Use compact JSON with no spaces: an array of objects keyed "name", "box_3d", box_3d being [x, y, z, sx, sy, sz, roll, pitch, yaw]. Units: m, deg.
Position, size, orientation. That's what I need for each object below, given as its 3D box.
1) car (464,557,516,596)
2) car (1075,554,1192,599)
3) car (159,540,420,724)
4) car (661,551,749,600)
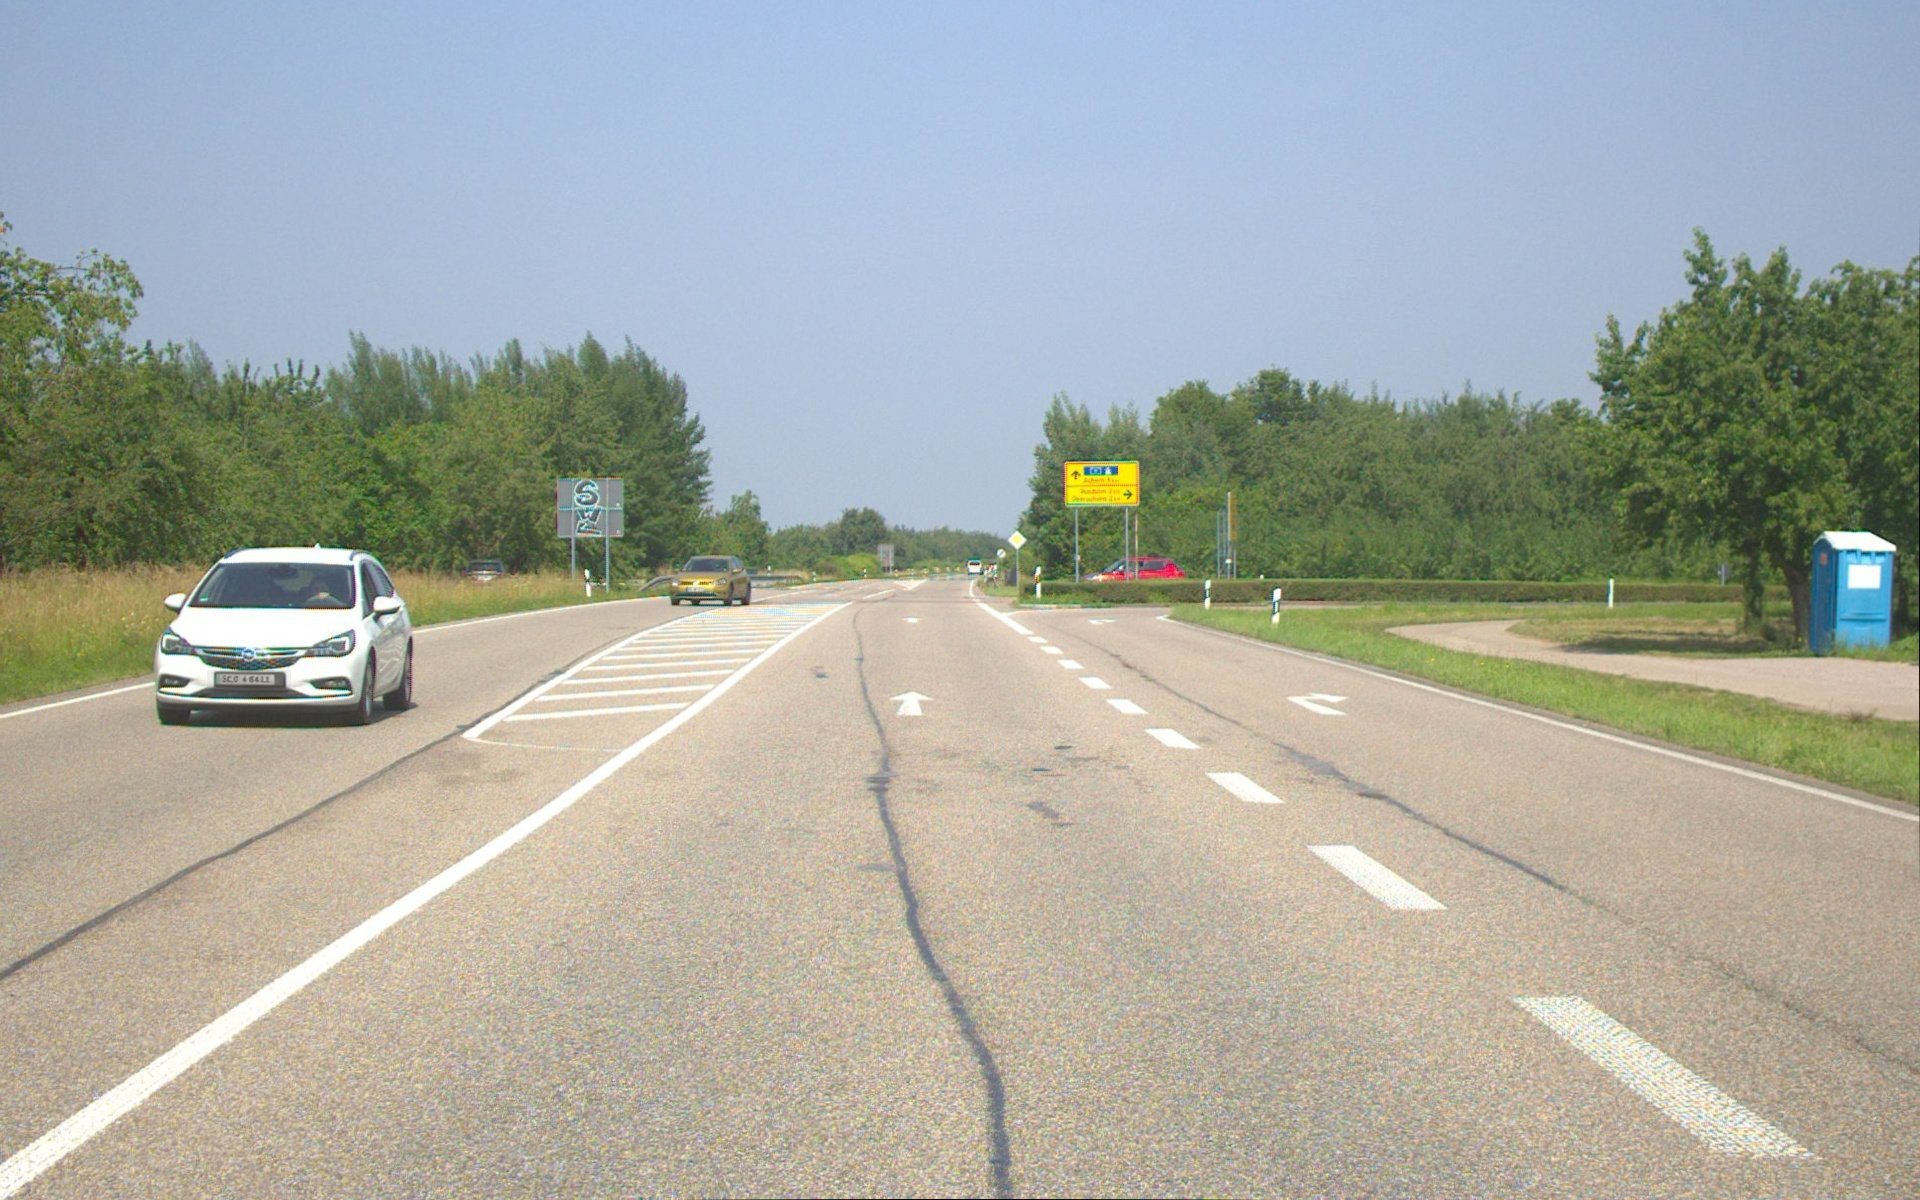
[{"name":"car","box_3d":[-17.572,-0.893,128.700,1.704,1.418,4.044,0,1,-5]},{"name":"car","box_3d":[6.040,-0.835,119.948,3.739,1.488,1.672,1,0,-13]},{"name":"car","box_3d":[-5.839,0.233,30.333,1.674,1.489,4.137,1,1,-3]},{"name":"car","box_3d":[-7.429,-0.725,100.524,1.698,1.411,3.824,0,1,10]}]
